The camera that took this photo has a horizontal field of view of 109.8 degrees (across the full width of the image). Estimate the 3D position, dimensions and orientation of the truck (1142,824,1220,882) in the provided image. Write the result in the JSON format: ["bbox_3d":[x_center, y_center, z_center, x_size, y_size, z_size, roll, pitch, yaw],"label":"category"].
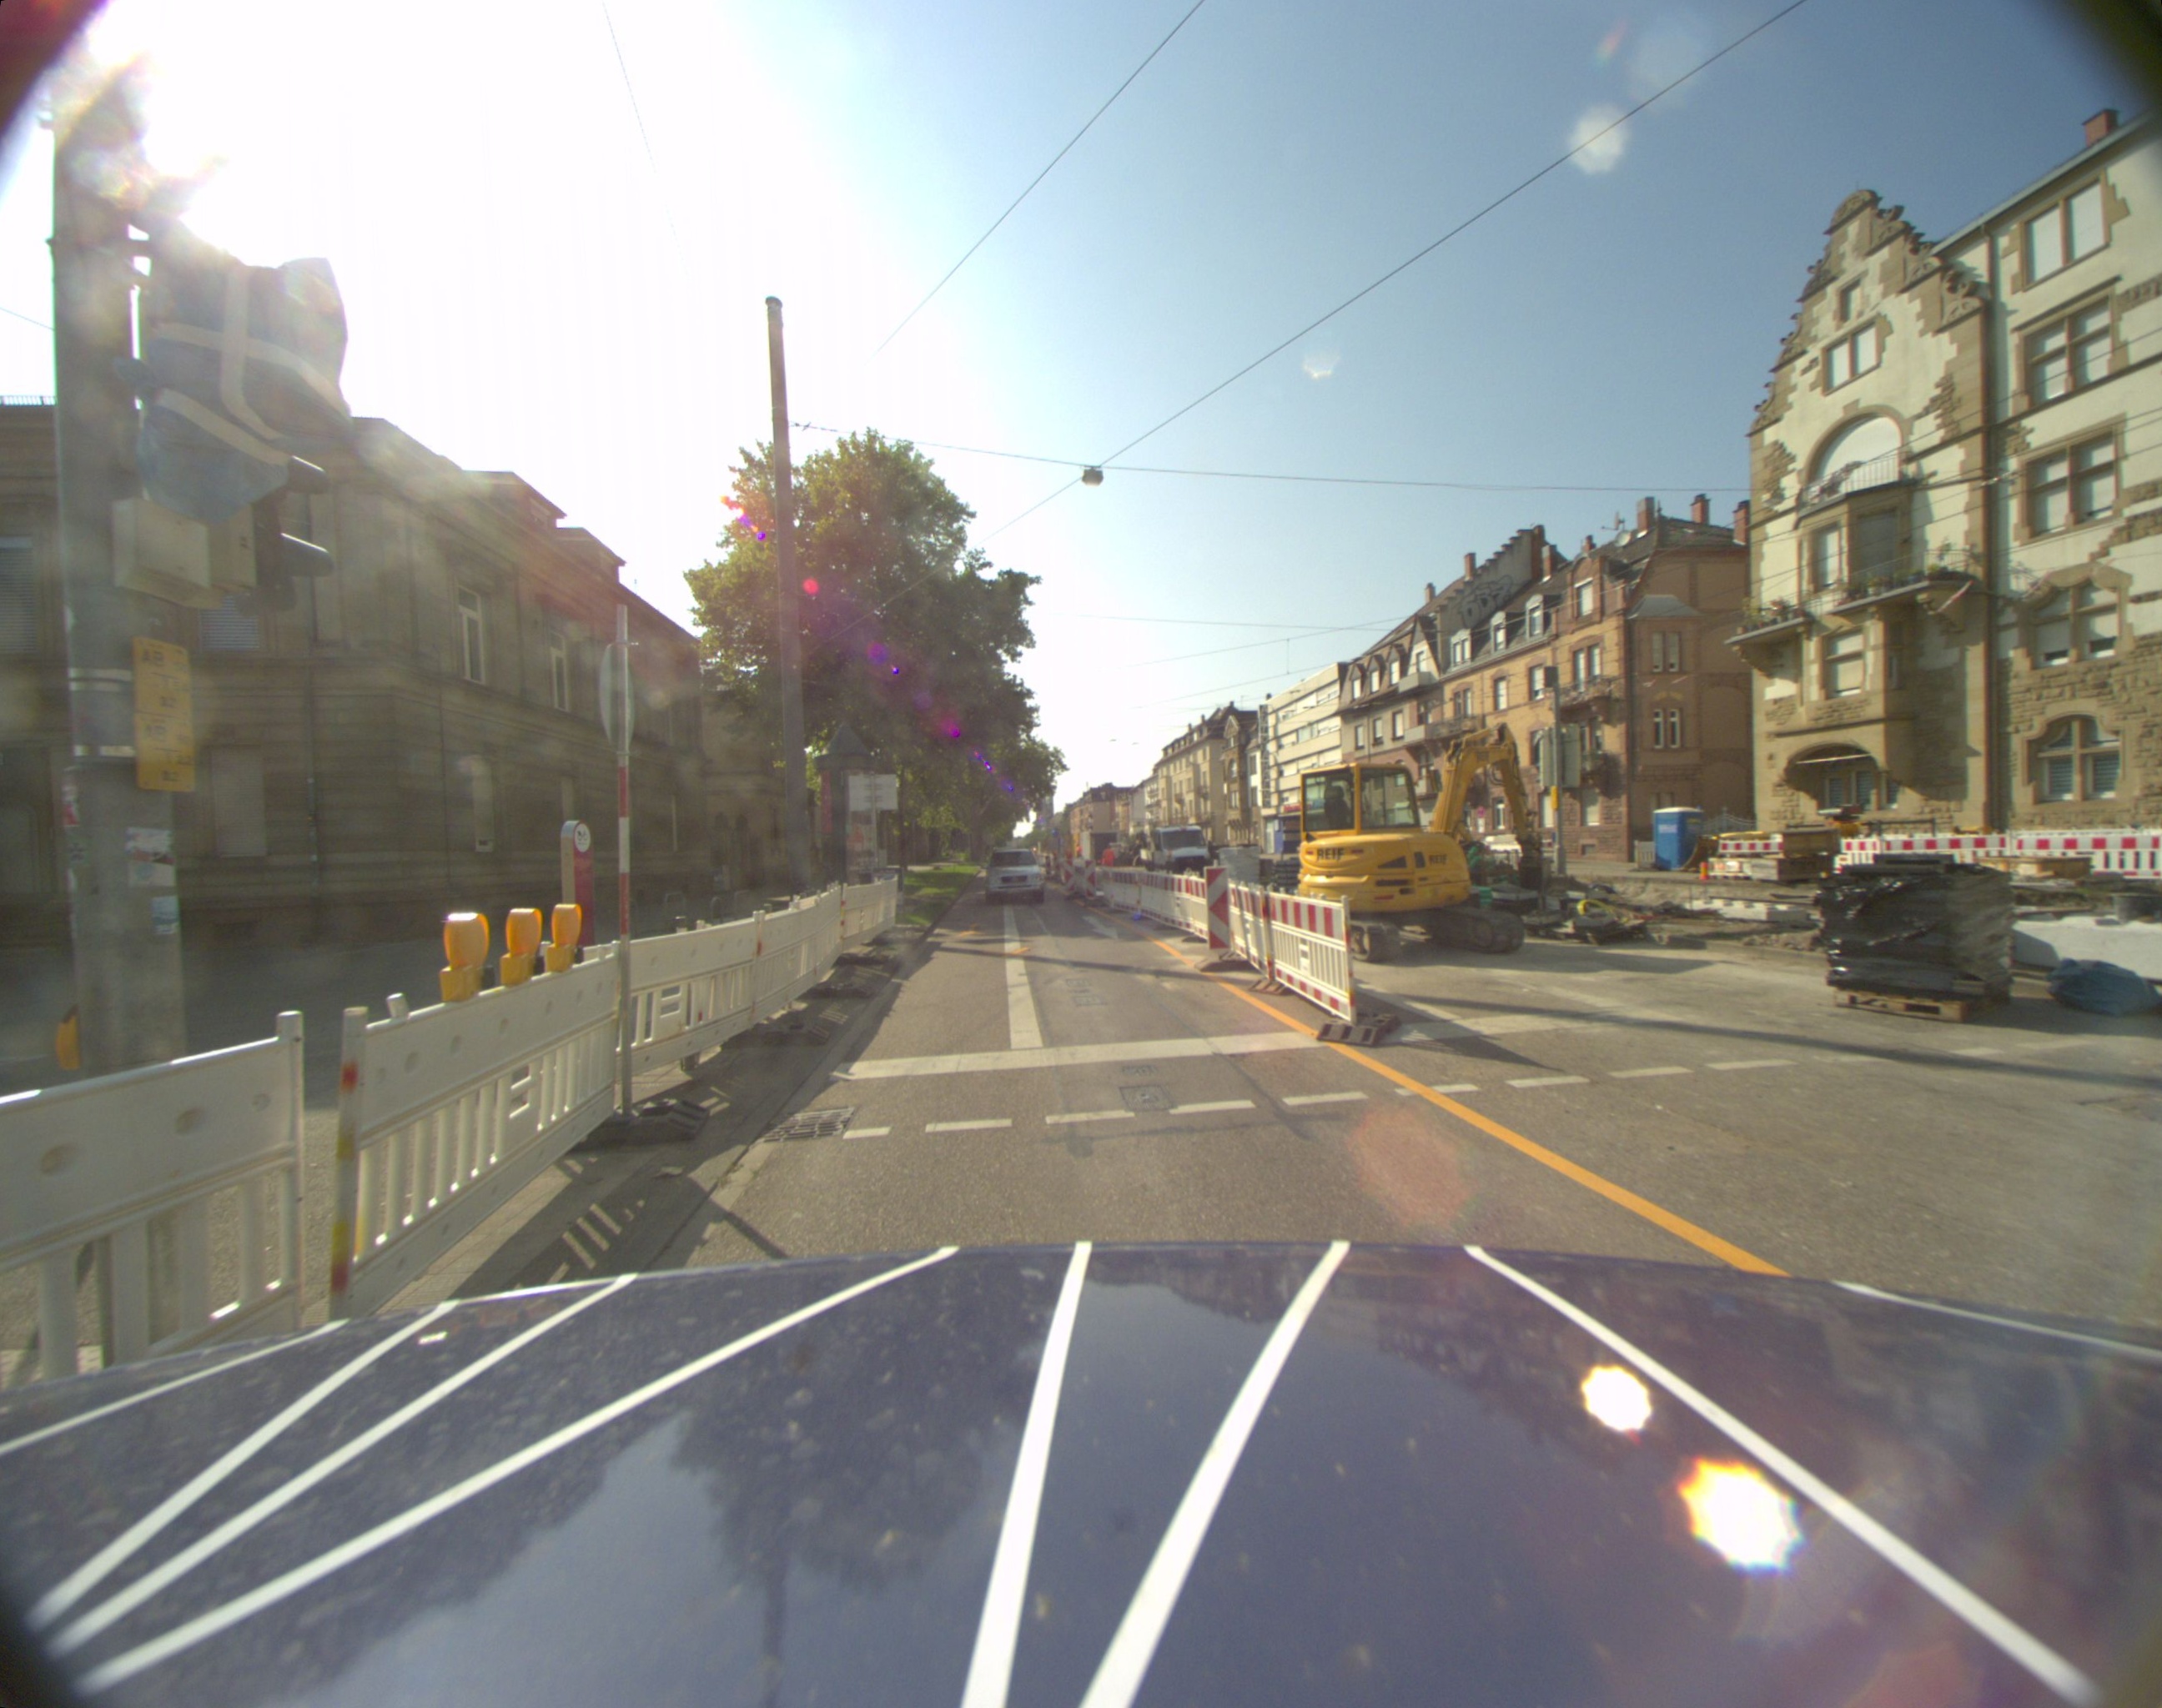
[{"bbox_3d":[4.188,-0.102,33.102,2.164,2.209,7.047,-1,1,-2],"label":"truck"}]

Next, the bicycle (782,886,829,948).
[{"bbox_3d":[-5.019,1.125,13.900,0.411,0.981,1.375,-2,1,-4],"label":"bicycle"}]

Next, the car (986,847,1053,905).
[{"bbox_3d":[-2.130,0.656,25.828,1.999,1.686,5.221,-2,1,-6],"label":"car"}]

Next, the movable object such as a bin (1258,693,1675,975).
[{"bbox_3d":[5.814,-0.367,11.228,6.170,3.327,2.112,-3,2,-26],"label":"movable object such as a bin"}]

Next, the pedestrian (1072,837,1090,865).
[{"bbox_3d":[0.002,-0.231,56.026,0.909,2.003,0.913,-3,3,20],"label":"pedestrian"}]

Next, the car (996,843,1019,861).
[{"bbox_3d":[-7.212,-0.202,74.224,2.000,1.686,5.221,-2,1,-7],"label":"car"}]

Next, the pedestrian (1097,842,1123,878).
[{"bbox_3d":[1.389,0.285,36.898,1.035,1.701,1.094,-2,2,-7],"label":"pedestrian"}]
